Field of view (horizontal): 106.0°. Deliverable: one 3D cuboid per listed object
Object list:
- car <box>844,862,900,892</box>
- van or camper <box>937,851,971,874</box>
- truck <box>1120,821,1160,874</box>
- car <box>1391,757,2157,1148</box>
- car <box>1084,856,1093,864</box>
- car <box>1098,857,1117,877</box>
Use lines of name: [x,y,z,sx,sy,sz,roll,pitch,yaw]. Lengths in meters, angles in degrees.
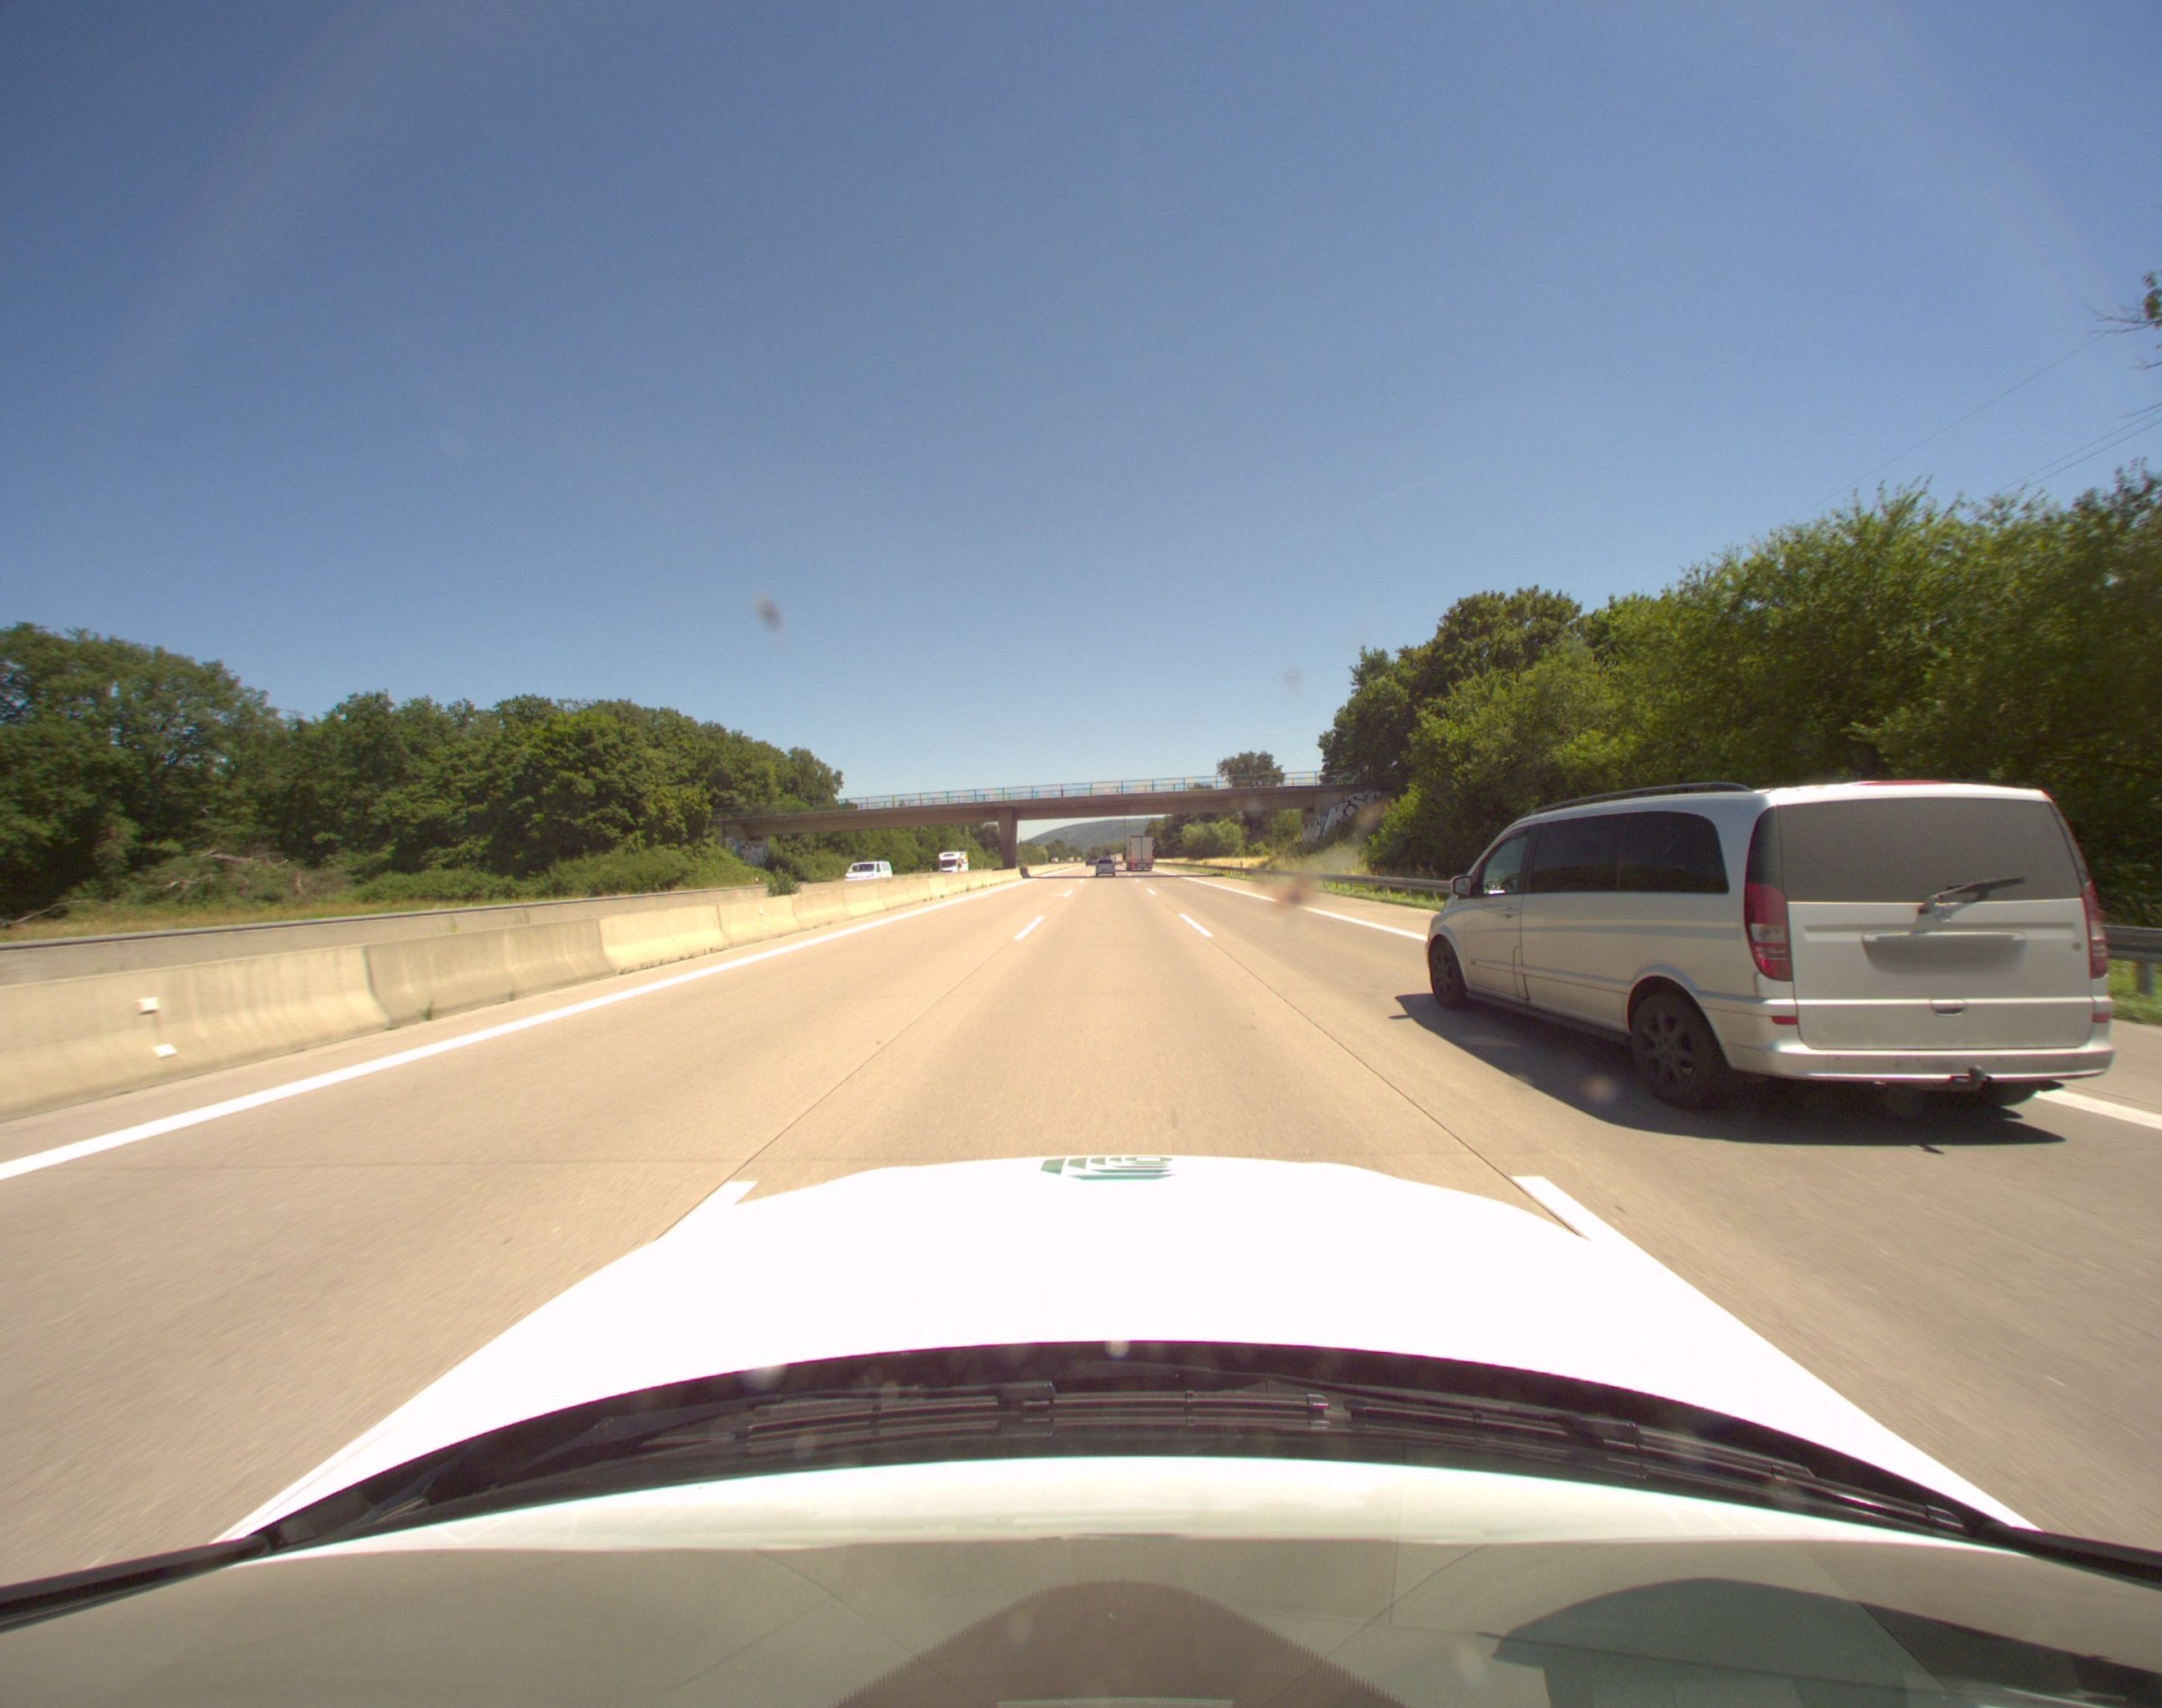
car: [-13.118,1.390,51.476,1.819,1.718,5.795,-2,0,2]
van or camper: [-13.830,0.879,89.253,2.240,2.443,7.804,0,0,1]
truck: [6.838,-0.674,97.949,3.565,5.787,18.246,-1,0,1]
car: [4.406,0.489,6.648,1.872,1.889,5.282,-1,0,2]
car: [1.642,1.378,178.275,2.016,1.700,3.998,0,-1,-1]
car: [2.302,1.069,70.330,1.635,1.662,3.361,0,0,2]
